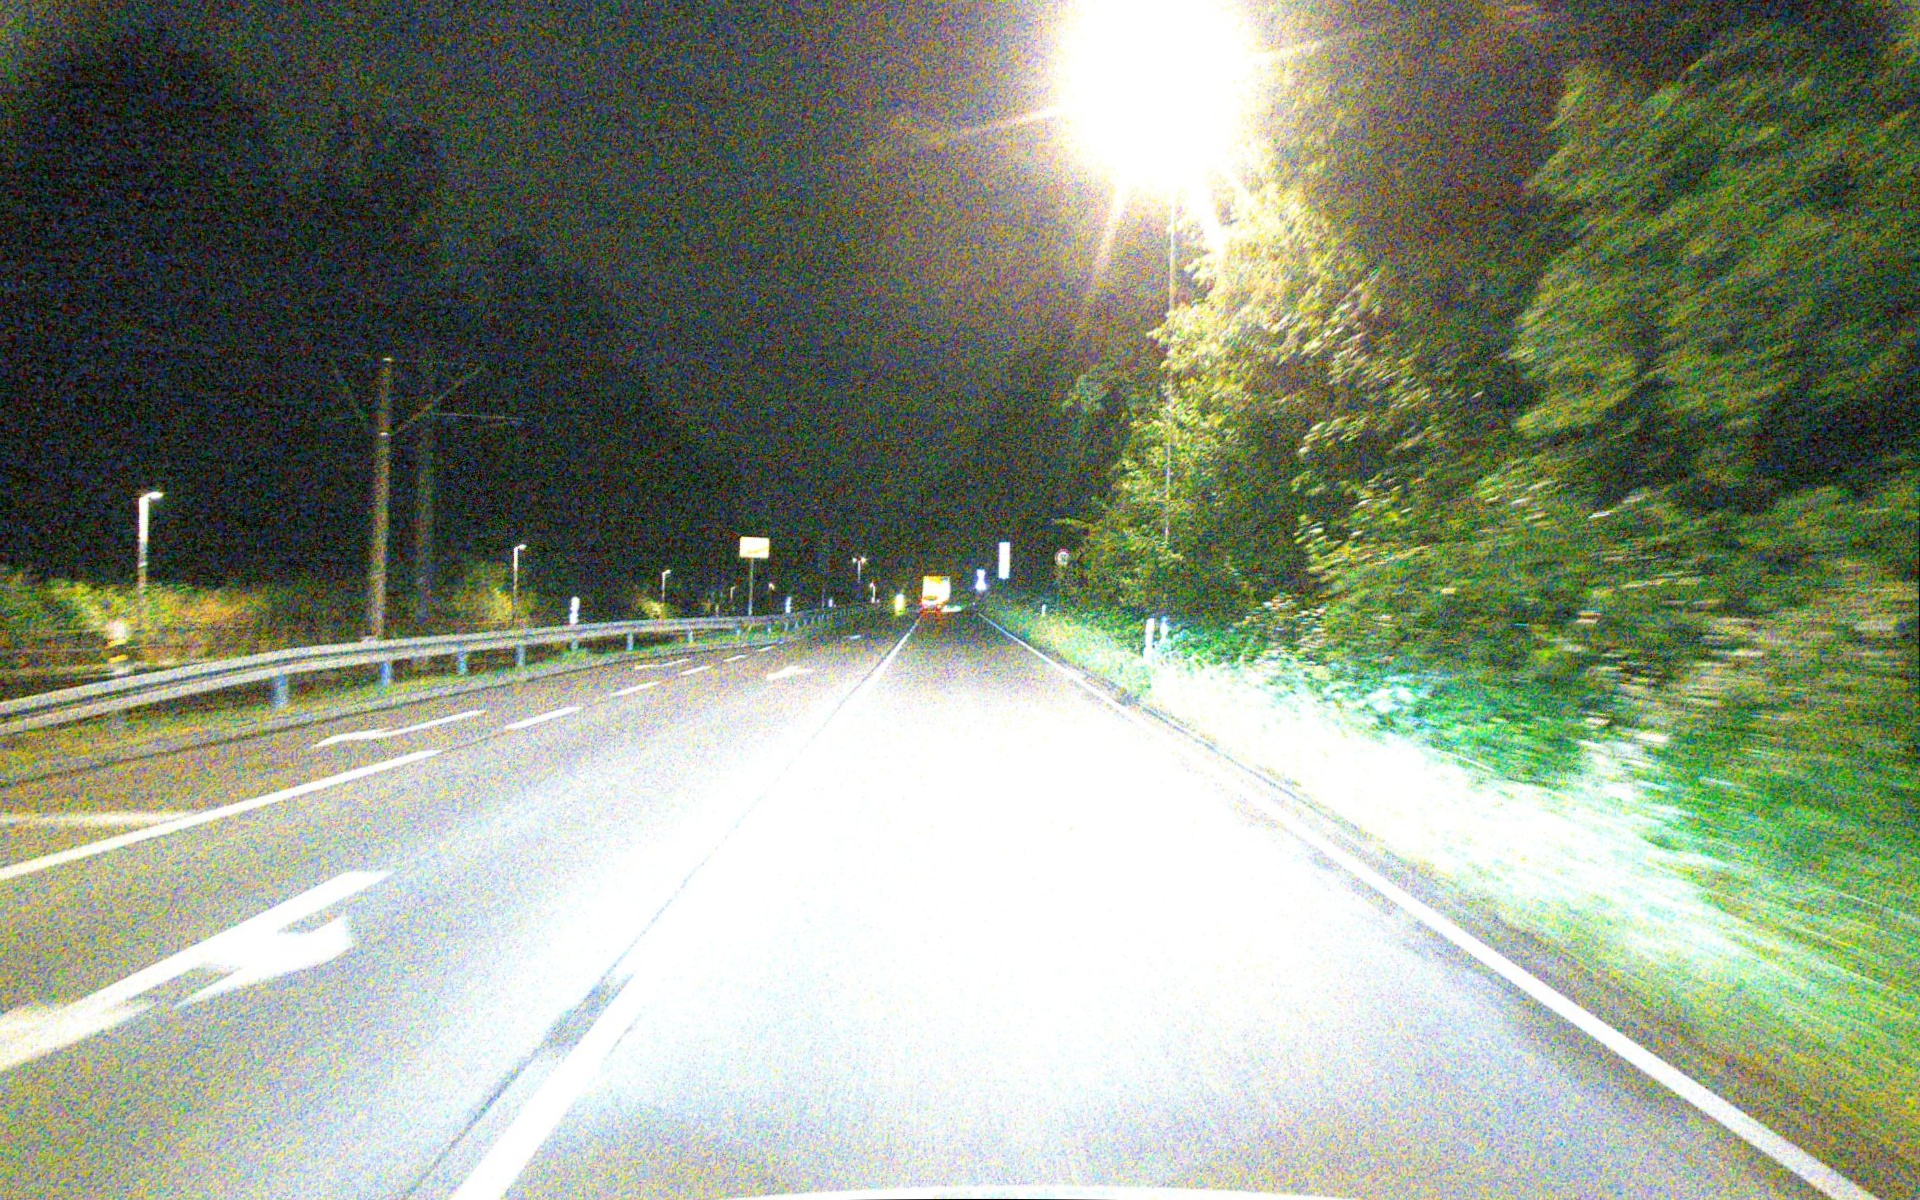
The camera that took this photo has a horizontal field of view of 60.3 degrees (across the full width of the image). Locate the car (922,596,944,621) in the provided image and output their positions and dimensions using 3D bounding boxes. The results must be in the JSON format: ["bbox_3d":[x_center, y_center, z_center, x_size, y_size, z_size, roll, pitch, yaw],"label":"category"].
[{"bbox_3d":[-2.588,0.838,156.721,1.953,2.049,3.998,3,-3,-2],"label":"car"}]
